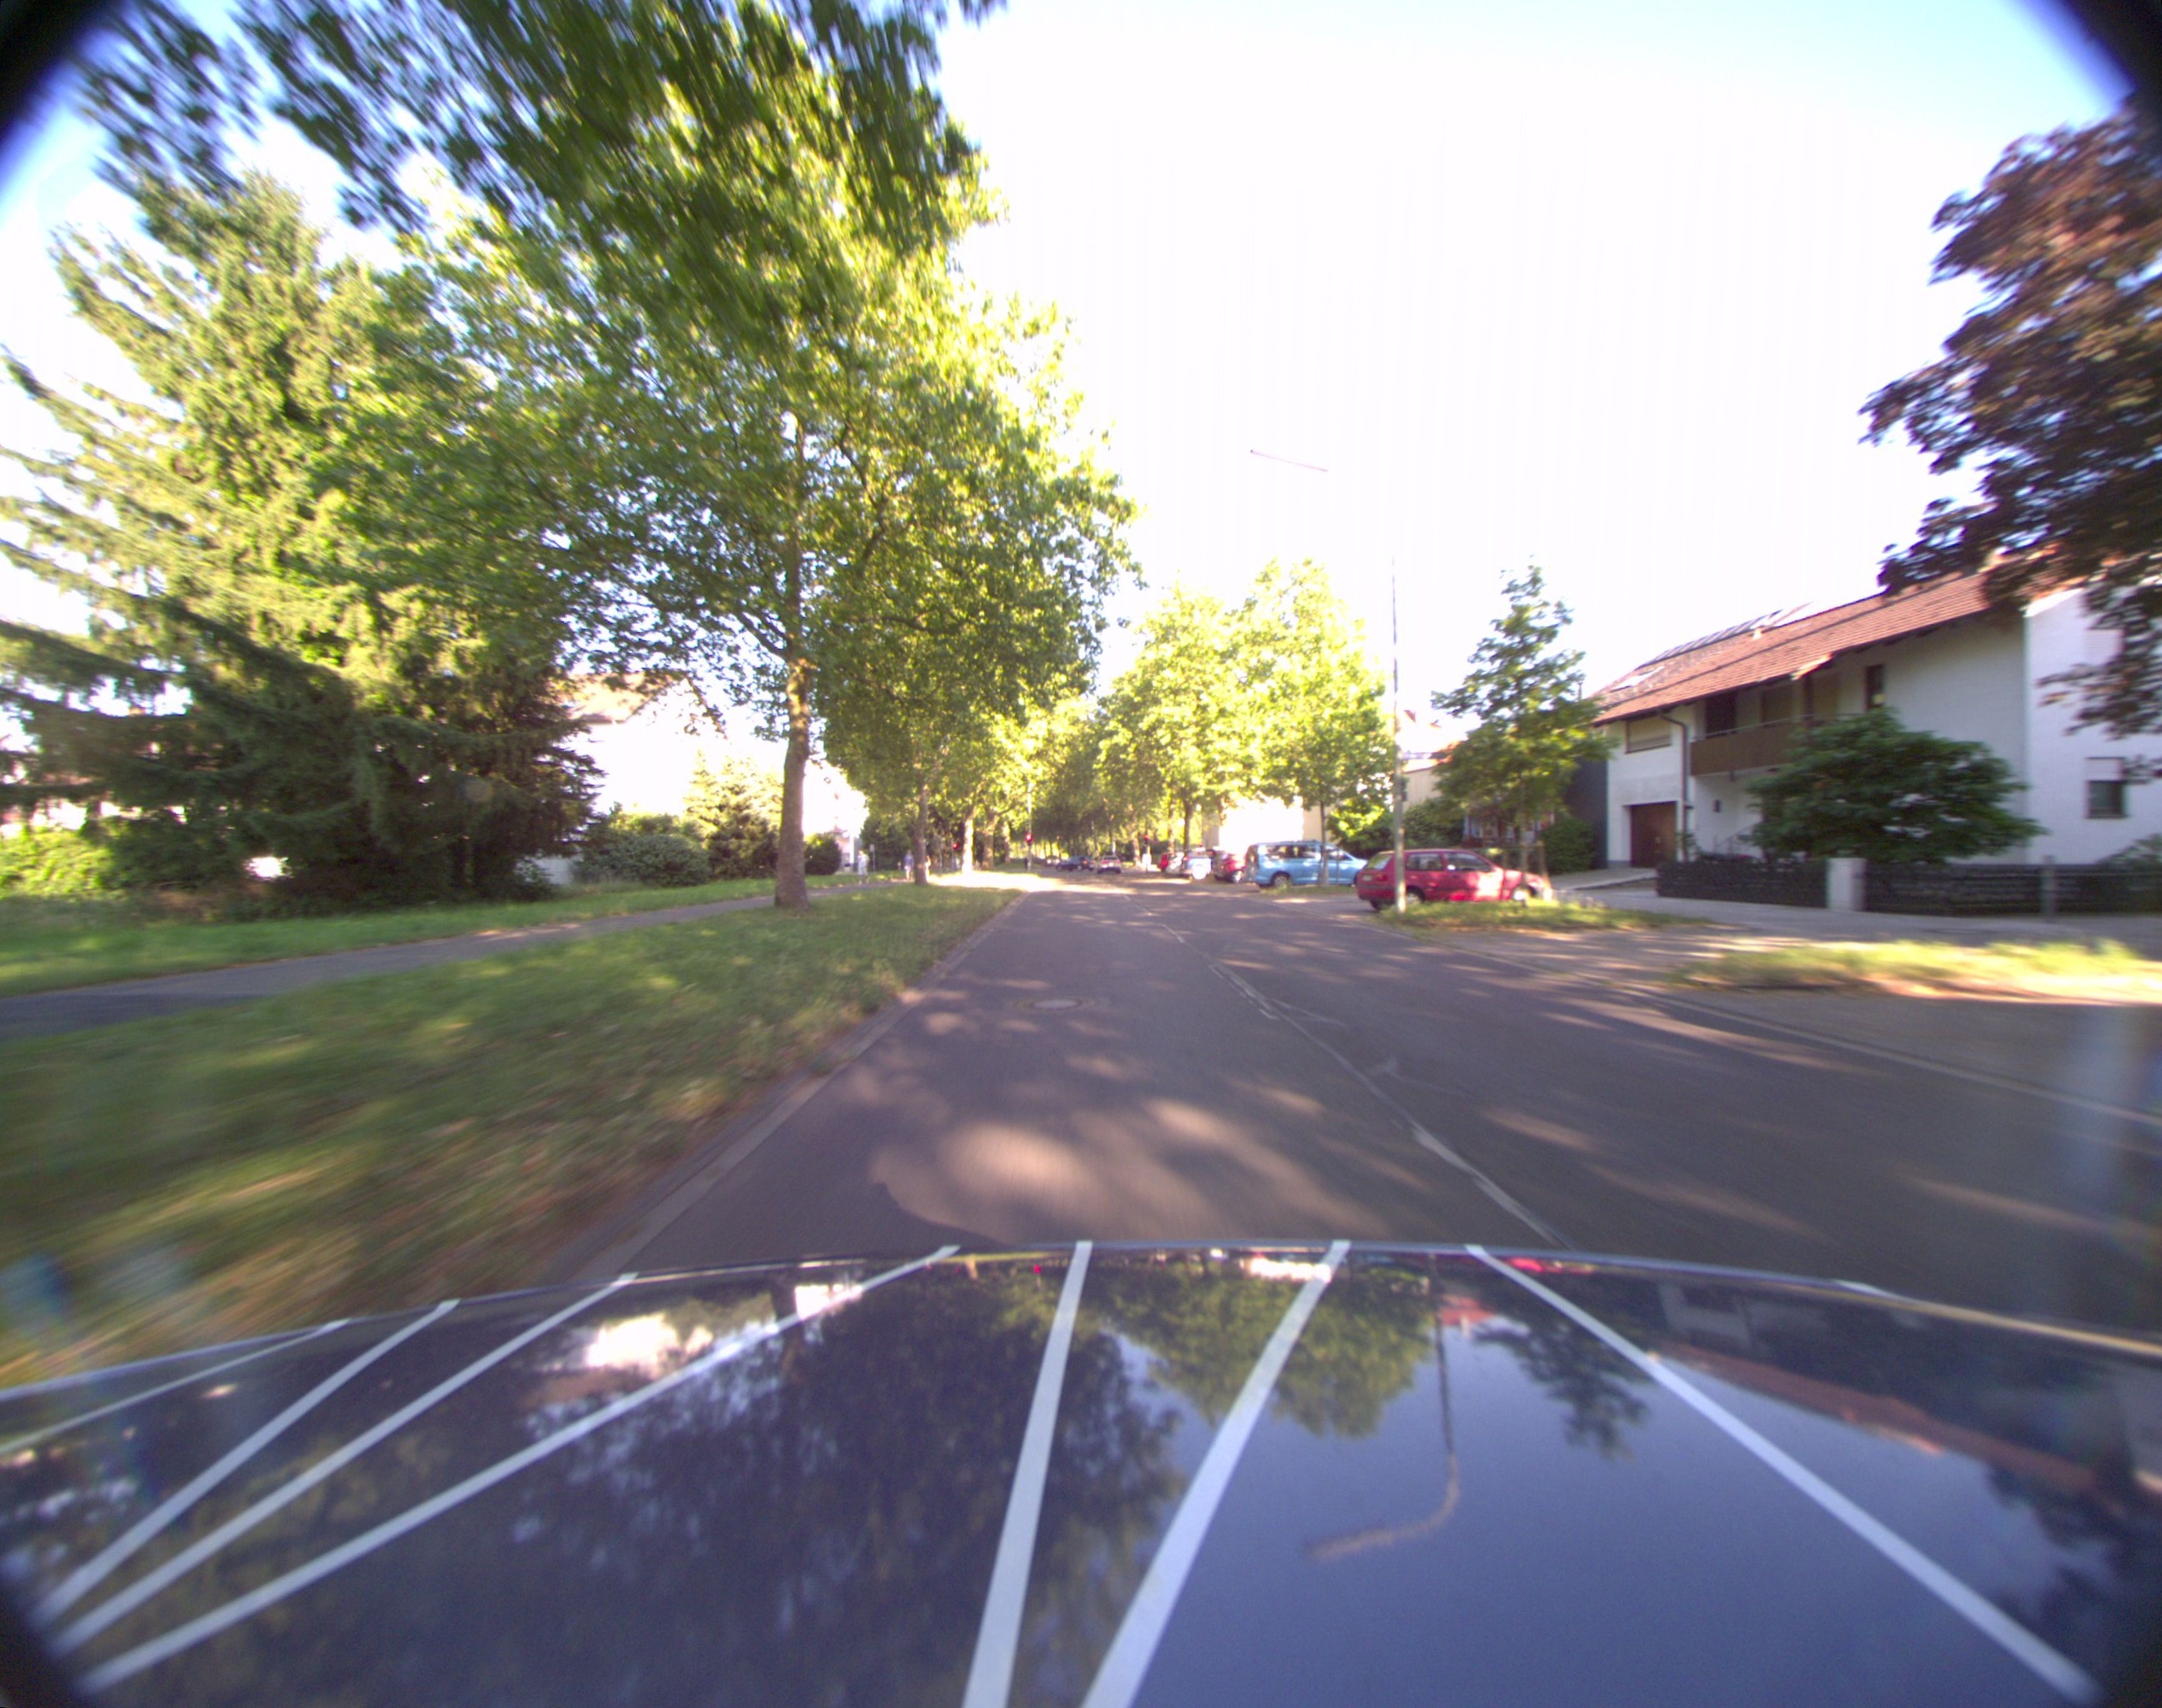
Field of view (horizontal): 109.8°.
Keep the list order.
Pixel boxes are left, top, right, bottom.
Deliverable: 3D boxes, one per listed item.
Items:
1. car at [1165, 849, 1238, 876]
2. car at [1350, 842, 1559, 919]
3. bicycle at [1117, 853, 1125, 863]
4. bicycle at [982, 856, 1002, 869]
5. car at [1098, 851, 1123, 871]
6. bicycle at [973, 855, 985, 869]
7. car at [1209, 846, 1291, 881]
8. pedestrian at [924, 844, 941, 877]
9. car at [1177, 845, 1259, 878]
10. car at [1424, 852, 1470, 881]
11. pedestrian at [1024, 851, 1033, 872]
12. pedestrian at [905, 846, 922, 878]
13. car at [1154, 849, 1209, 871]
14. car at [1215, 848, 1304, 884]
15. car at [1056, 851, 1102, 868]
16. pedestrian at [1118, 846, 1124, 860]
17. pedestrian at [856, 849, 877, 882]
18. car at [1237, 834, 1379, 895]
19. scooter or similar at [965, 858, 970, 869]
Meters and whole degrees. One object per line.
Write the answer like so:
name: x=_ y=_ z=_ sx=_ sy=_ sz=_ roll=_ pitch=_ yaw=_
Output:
car: x=7.437 y=0.512 z=47.113 sx=4.173 sy=1.492 sz=1.875 roll=-2 pitch=1 yaw=-4
car: x=8.319 y=0.556 z=17.112 sx=3.882 sy=1.509 sz=1.664 roll=-2 pitch=1 yaw=-4
bicycle: x=4.389 y=0.453 z=83.622 sx=0.511 sy=1.036 sz=2.150 roll=1 pitch=3 yaw=-5
bicycle: x=-7.267 y=0.729 z=62.205 sx=1.715 sy=1.028 sz=0.447 roll=-1 pitch=-2 yaw=33
car: x=2.401 y=0.559 z=62.063 sx=1.721 sy=1.492 sz=4.092 roll=-2 pitch=0 yaw=-2
bicycle: x=-8.233 y=0.676 z=61.130 sx=0.447 sy=1.076 sz=2.004 roll=1 pitch=-1 yaw=-23
car: x=8.244 y=0.456 z=37.249 sx=3.522 sy=1.508 sz=1.726 roll=-2 pitch=1 yaw=-6
pedestrian: x=-8.561 y=0.373 z=43.770 sx=0.763 sy=1.835 sz=0.787 roll=-1 pitch=1 yaw=1
car: x=7.546 y=0.414 z=42.125 sx=4.103 sy=1.706 sz=1.831 roll=-1 pitch=1 yaw=-2
car: x=14.809 y=0.513 z=30.771 sx=1.518 sy=1.110 sz=0.700 roll=-1 pitch=1 yaw=-1
pedestrian: x=-4.187 y=0.607 z=60.681 sx=0.637 sy=1.709 sz=0.825 roll=1 pitch=0 yaw=-10
pedestrian: x=-9.683 y=0.469 z=43.901 sx=0.756 sy=1.837 sz=0.802 roll=-1 pitch=1 yaw=1
car: x=7.542 y=0.433 z=57.055 sx=3.775 sy=1.526 sz=1.830 roll=-2 pitch=1 yaw=-5
car: x=8.166 y=0.514 z=34.980 sx=3.652 sy=1.508 sz=1.781 roll=-2 pitch=0 yaw=-2
car: x=-0.223 y=0.492 z=70.374 sx=4.056 sy=1.455 sz=1.735 roll=0 pitch=1 yaw=39
pedestrian: x=4.392 y=-0.099 z=83.468 sx=0.511 sy=1.524 sz=1.033 roll=-1 pitch=5 yaw=-6
pedestrian: x=-10.700 y=0.553 z=37.872 sx=0.781 sy=1.640 sz=0.938 roll=0 pitch=1 yaw=-2
car: x=8.082 y=0.350 z=27.346 sx=4.398 sy=1.814 sz=1.995 roll=-4 pitch=1 yaw=-3
scooter or similar: x=-12.058 y=0.993 z=80.535 sx=0.383 sy=1.189 sz=1.254 roll=-2 pitch=0 yaw=-5
